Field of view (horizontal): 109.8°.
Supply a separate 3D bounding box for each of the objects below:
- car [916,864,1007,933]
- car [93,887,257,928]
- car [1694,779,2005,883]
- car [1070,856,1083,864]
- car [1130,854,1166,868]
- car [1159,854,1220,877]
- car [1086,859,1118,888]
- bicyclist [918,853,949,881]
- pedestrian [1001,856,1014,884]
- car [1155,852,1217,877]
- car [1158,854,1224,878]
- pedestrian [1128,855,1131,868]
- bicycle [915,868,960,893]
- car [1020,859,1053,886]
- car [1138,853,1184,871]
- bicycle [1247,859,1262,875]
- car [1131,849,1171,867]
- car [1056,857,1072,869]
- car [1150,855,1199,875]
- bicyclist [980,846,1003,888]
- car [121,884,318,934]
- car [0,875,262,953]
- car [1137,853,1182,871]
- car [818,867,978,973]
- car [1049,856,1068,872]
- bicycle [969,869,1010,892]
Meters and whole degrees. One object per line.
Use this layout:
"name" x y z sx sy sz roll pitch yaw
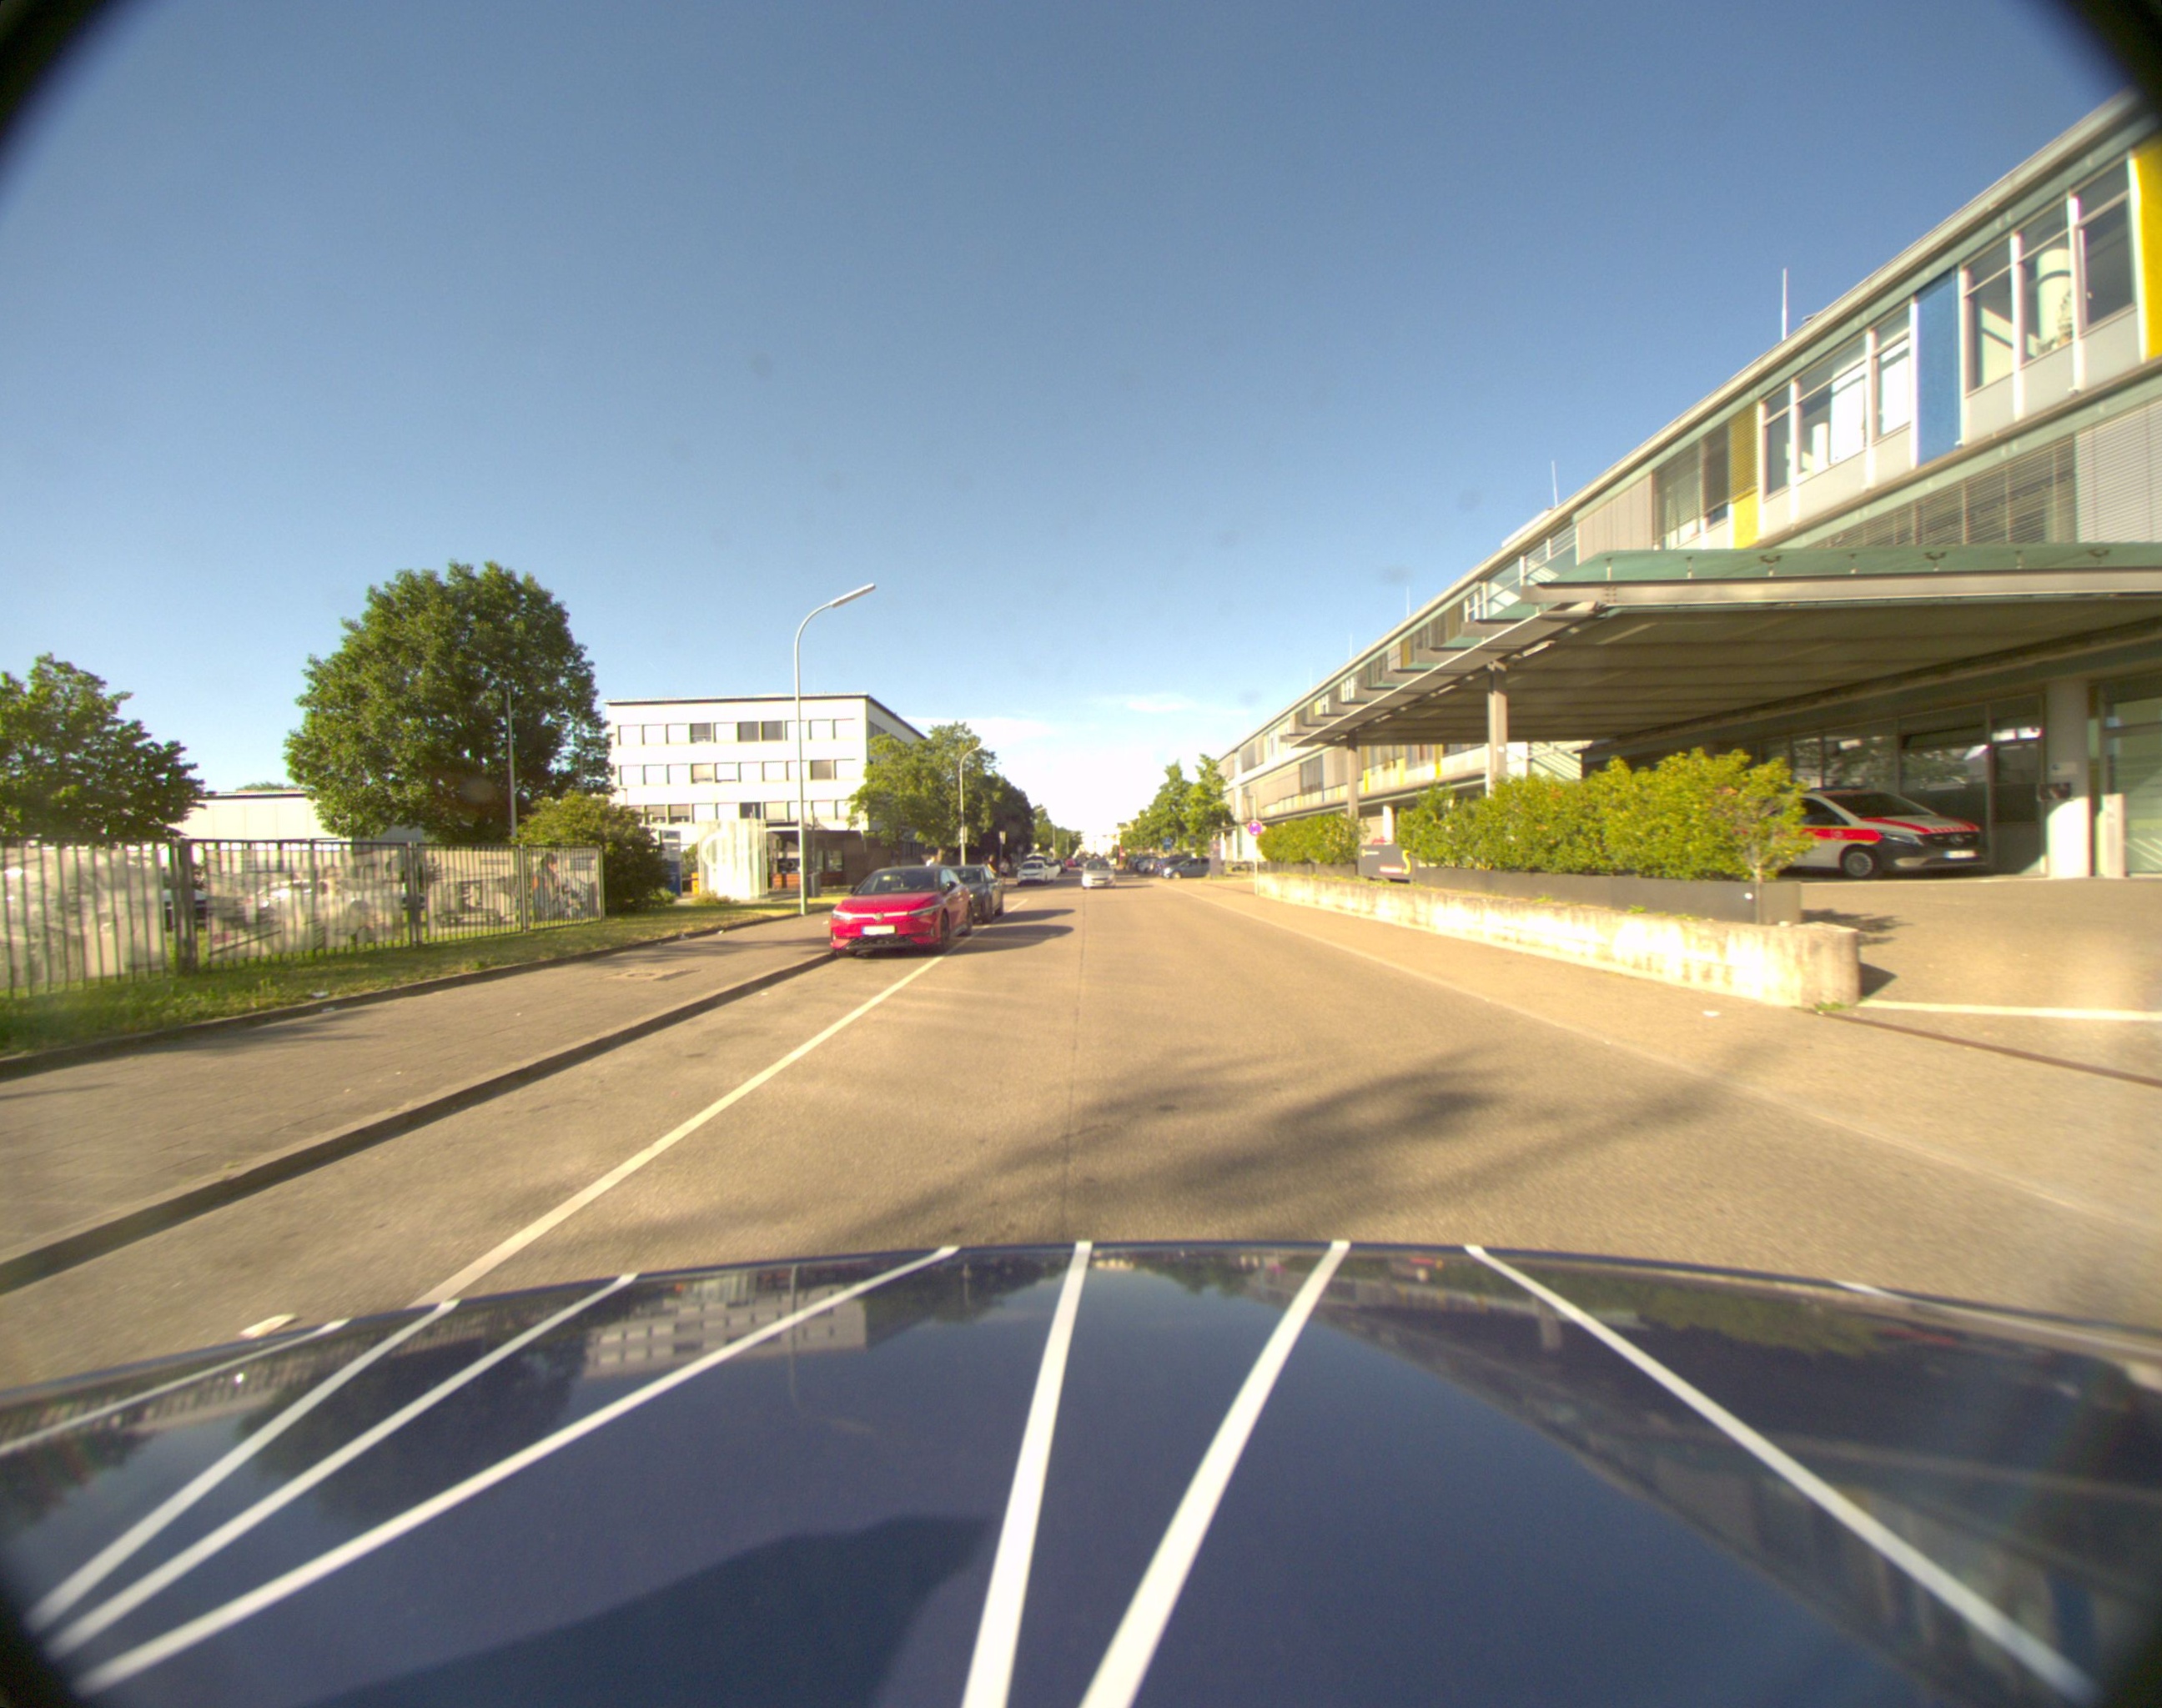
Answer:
"car" -3.036 1.084 20.135 1.705 1.478 4.215 -3 0 0
"car" -36.133 2.125 30.395 4.153 1.245 1.878 -3 0 -2
"car" 16.066 -0.419 16.357 1.924 1.880 4.711 -1 0 0
"car" -0.872 0.992 133.394 1.999 1.382 3.998 0 0 -4
"car" 8.312 0.874 94.582 4.357 1.452 2.001 -3 0 6
"car" 7.650 0.807 53.800 3.998 1.429 1.731 -2 0 -2
"car" 1.099 0.974 39.373 1.551 1.389 3.455 0 0 2
"bicyclist" -6.797 0.578 35.056 1.098 1.261 0.863 -1 0 16
"pedestrian" -4.439 0.955 45.702 0.693 1.718 0.775 0 0 0
"car" 7.742 0.763 56.411 4.232 1.642 1.960 -2 0 -2
"car" 7.390 0.778 51.282 4.142 1.458 1.753 -2 0 -1
"pedestrian" 6.698 1.004 104.816 0.369 1.712 0.479 -3 5 -3
"bicycle" -6.602 1.215 34.954 1.899 1.136 0.668 0 0 16
"car" -2.751 1.099 47.635 1.668 1.505 4.114 -3 0 1
"car" 7.722 0.754 73.458 4.101 1.414 1.823 -3 1 -1
"bicycle" 12.215 0.913 53.527 0.637 1.136 1.779 -1 0 0
"car" 8.192 0.456 89.144 4.358 1.852 2.000 -3 0 2
"car" -2.250 1.239 101.480 1.824 1.435 4.294 -3 0 1
"car" 8.119 0.934 66.254 3.991 1.480 1.823 -3 1 -1
"bicyclist" -4.350 0.620 37.086 1.052 2.001 0.959 0 -1 -2
"car" -28.225 1.773 25.009 4.153 1.245 1.878 -3 0 -2
"car" -23.681 1.424 18.682 4.642 1.658 1.999 -1 0 -5
"car" 8.158 0.796 78.974 4.360 1.618 1.999 -3 1 -3
"car" -3.196 1.080 14.331 1.813 1.501 4.722 -3 0 0
"car" -2.505 1.096 85.044 1.890 1.616 4.294 -3 0 1
"bicycle" -4.461 1.302 37.057 1.884 1.002 0.701 2 -3 -2
